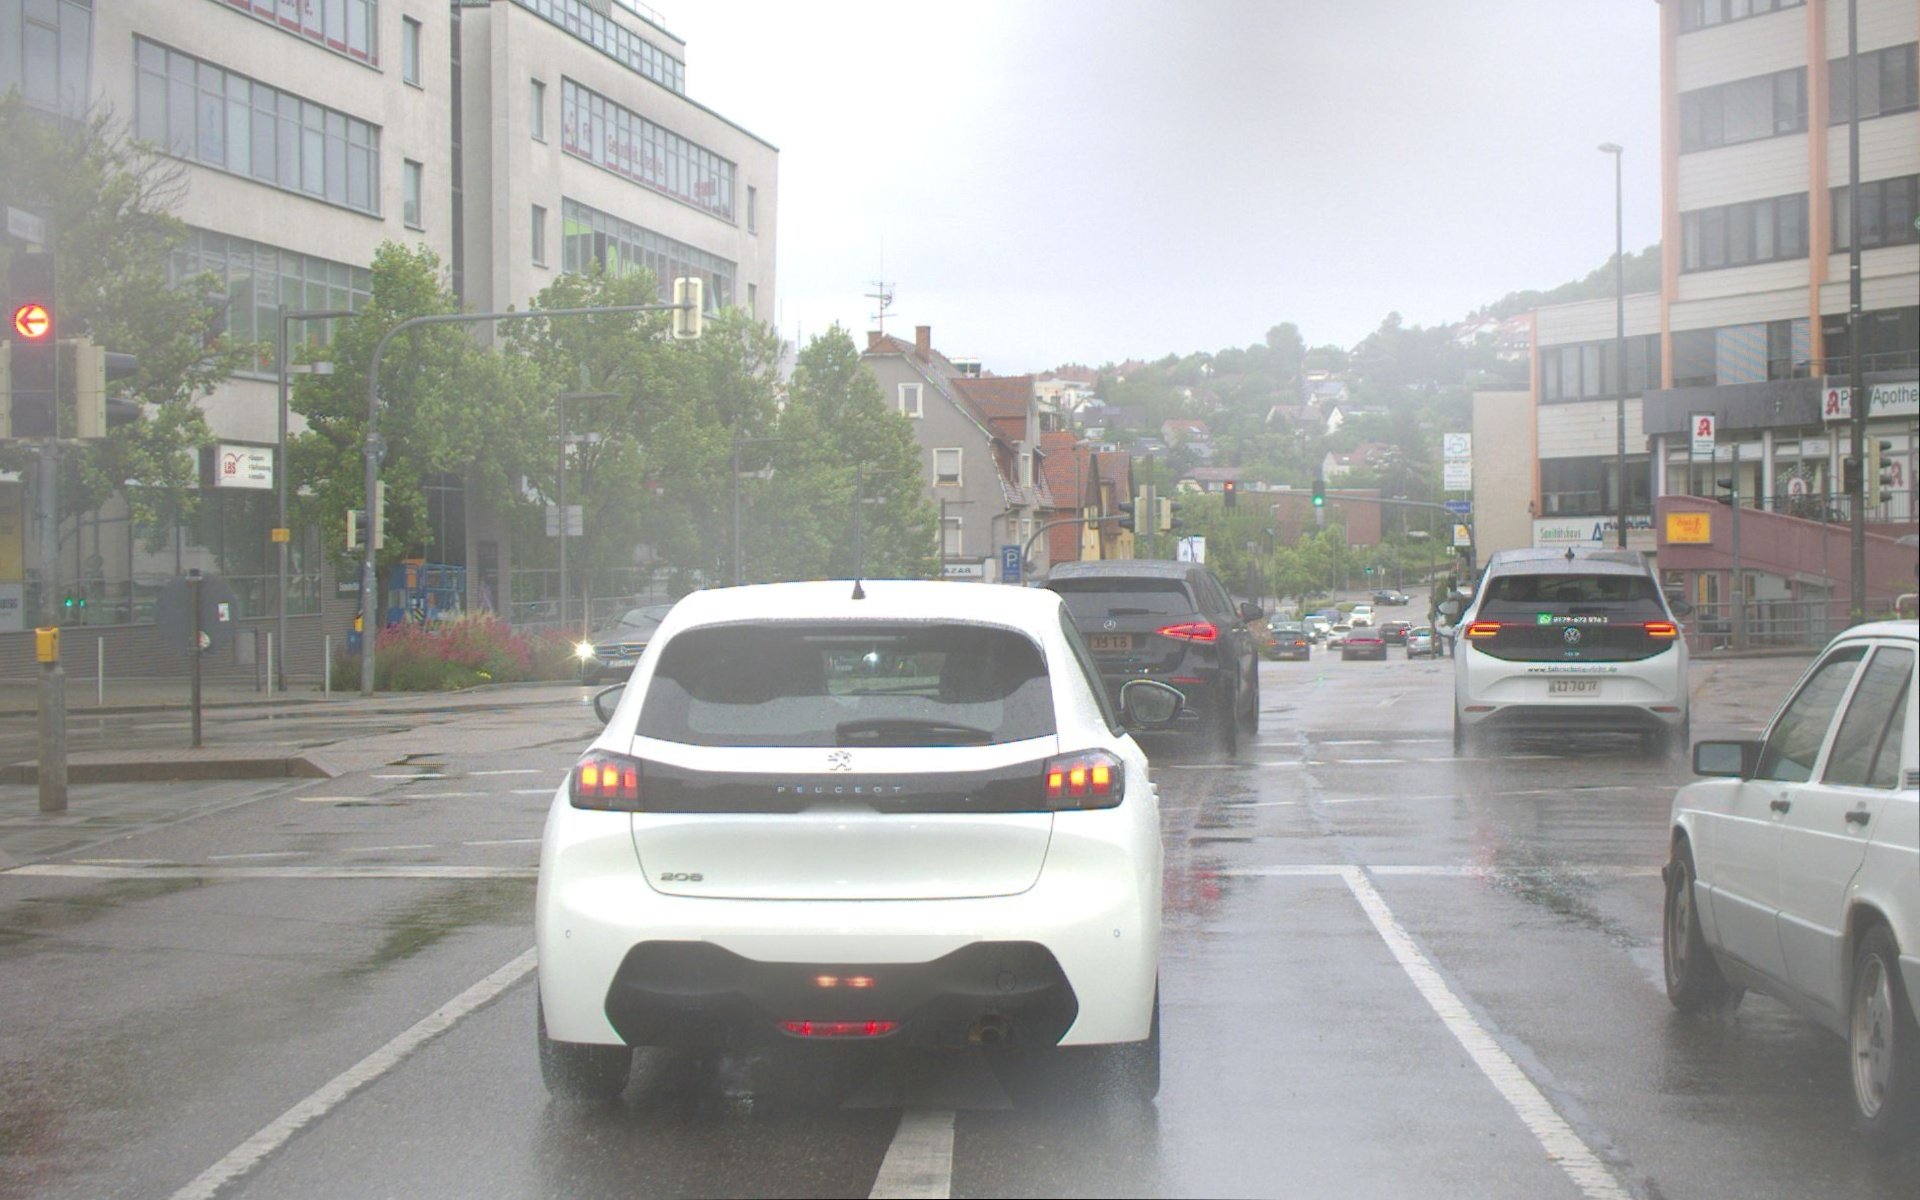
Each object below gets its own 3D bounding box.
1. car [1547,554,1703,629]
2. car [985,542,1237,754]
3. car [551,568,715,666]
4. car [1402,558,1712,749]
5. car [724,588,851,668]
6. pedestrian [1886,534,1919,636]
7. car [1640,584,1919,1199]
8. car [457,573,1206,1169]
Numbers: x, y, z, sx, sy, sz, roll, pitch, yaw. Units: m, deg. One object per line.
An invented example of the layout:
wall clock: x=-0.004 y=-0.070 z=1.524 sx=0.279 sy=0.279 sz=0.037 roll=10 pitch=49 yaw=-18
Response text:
car: x=20.354 y=-0.241 z=105.508 sx=1.993 sy=2.219 sz=4.976 roll=-1 pitch=0 yaw=-28
car: x=1.134 y=0.353 z=26.664 sx=1.815 sy=1.524 sz=3.812 roll=0 pitch=0 yaw=1
car: x=-5.772 y=0.270 z=61.263 sx=1.920 sy=1.626 sz=4.902 roll=1 pitch=1 yaw=7
car: x=4.606 y=0.381 z=26.980 sx=1.911 sy=1.395 sz=3.457 roll=0 pitch=0 yaw=1
car: x=-3.739 y=0.595 z=75.285 sx=1.774 sy=1.588 sz=4.586 roll=-4 pitch=-1 yaw=9
pedestrian: x=15.088 y=-0.235 z=54.548 sx=0.708 sy=1.602 sz=0.655 roll=1 pitch=1 yaw=13
car: x=3.097 y=0.702 z=9.665 sx=1.634 sy=1.443 sz=4.268 roll=1 pitch=0 yaw=2
car: x=-0.262 y=0.664 z=10.566 sx=1.872 sy=1.457 sz=3.873 roll=1 pitch=1 yaw=2
